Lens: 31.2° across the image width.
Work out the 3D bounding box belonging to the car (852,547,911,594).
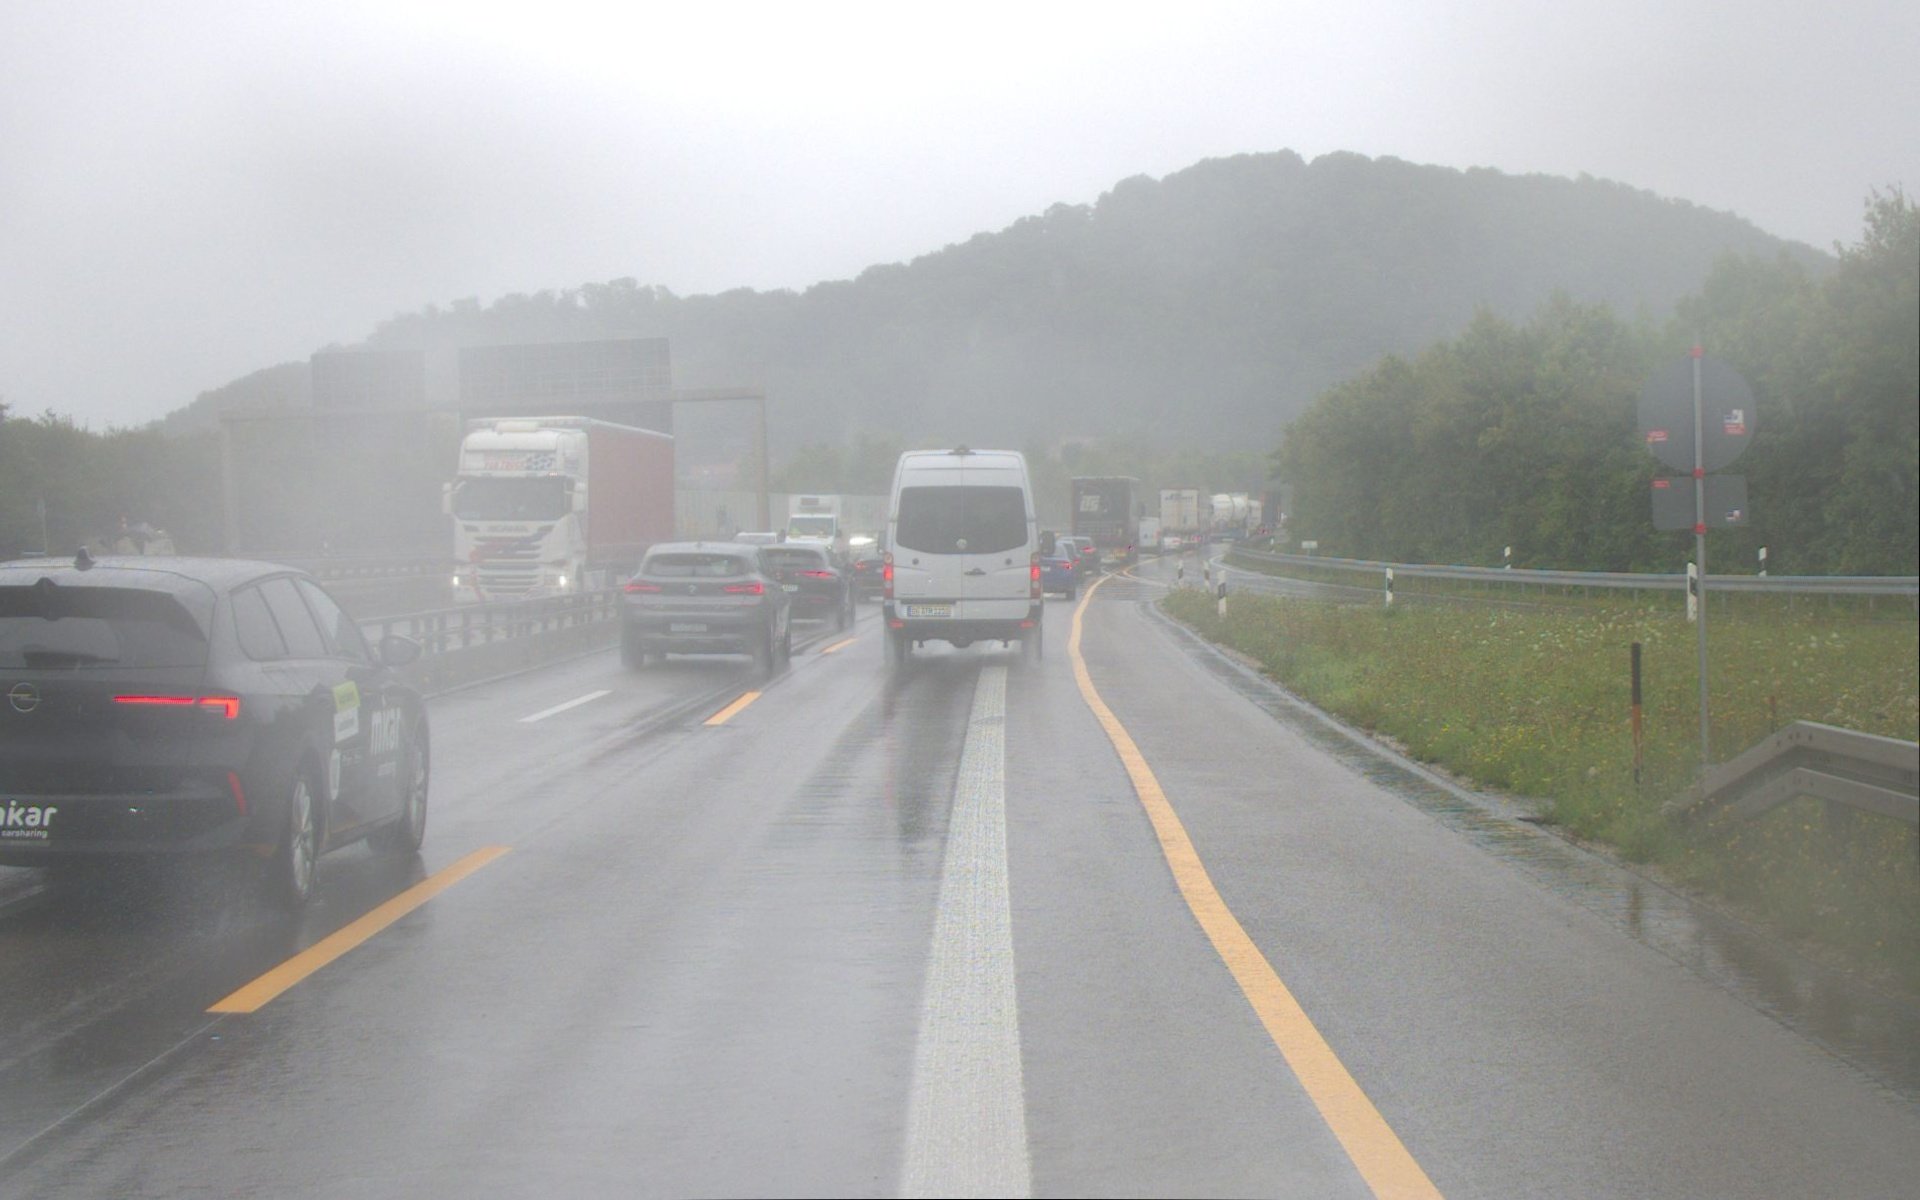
[{"bbox_3d":[-1.862,-0.713,81.805,1.262,1.074,3.254,0,1,1],"label":"car"}]

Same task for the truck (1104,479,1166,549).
[{"bbox_3d":[9.839,-4.812,194.292,3.321,3.749,9.906,1,1,2],"label":"truck"}]

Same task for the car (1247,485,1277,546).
[{"bbox_3d":[20.921,-5.829,238.456,2.058,4.177,6.745,0,1,5],"label":"car"}]

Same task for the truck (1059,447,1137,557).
[{"bbox_3d":[6.311,-4.389,156.726,3.321,4.768,9.906,1,1,2],"label":"truck"}]

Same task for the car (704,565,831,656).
[{"bbox_3d":[-3.284,0.162,59.330,1.852,1.495,4.000,0,1,2],"label":"car"}]

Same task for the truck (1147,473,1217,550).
[{"bbox_3d":[14.617,-5.771,225.948,3.929,4.768,9.904,1,1,7],"label":"truck"}]

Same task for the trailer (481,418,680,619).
[{"bbox_3d":[-8.637,-1.833,79.647,2.976,4.280,11.059,-1,1,2],"label":"trailer"}]

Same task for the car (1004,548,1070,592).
[{"bbox_3d":[1.923,-0.766,86.701,1.384,1.074,3.123,0,1,-4],"label":"car"}]

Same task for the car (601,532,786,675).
[{"bbox_3d":[-3.182,0.013,41.751,1.867,1.653,3.988,0,1,1],"label":"car"}]

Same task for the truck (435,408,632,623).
[{"bbox_3d":[-8.892,-1.741,72.513,3.008,4.257,6.800,-1,1,2],"label":"truck"}]

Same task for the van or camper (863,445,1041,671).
[{"bbox_3d":[-0.058,-0.537,43.625,2.139,2.712,4.648,0,1,1],"label":"van or camper"}]

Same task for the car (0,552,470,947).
[{"bbox_3d":[-3.375,0.516,14.959,1.938,1.422,4.761,1,1,-2],"label":"car"}]
